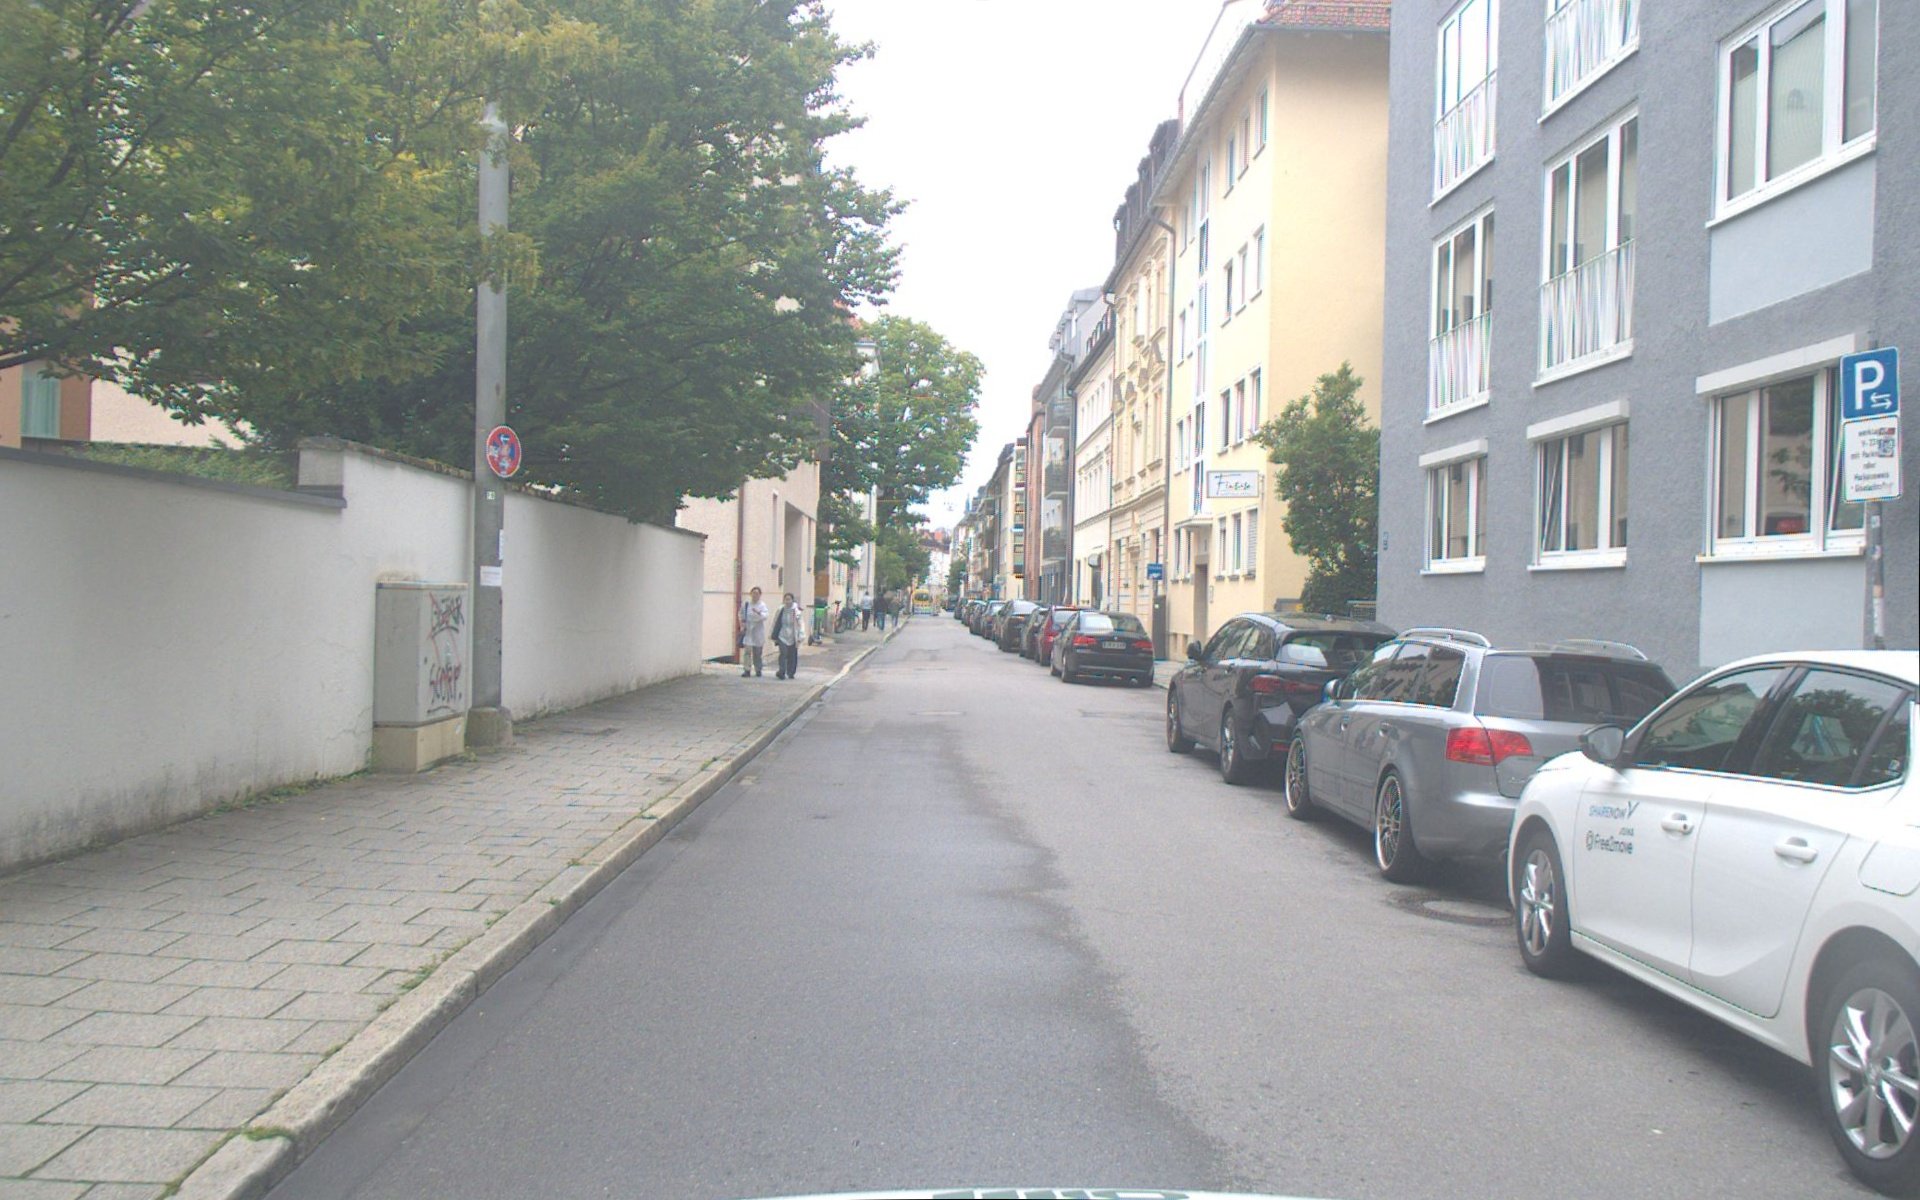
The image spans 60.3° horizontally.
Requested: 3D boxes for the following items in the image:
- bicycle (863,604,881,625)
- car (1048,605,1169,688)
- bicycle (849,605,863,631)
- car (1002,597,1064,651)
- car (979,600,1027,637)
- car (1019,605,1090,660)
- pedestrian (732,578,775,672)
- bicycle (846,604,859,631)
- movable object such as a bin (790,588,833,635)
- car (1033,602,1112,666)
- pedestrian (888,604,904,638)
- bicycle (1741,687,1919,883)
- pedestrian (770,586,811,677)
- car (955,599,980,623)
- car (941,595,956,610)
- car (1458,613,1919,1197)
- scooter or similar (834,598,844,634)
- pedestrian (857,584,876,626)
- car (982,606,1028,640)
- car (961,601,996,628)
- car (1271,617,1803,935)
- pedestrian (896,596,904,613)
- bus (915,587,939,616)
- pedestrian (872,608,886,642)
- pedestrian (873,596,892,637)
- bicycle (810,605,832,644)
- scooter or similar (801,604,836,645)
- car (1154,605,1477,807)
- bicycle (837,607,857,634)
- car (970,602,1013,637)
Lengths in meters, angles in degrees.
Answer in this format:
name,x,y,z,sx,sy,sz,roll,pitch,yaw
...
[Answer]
name,x,y,z,sx,sy,sz,roll,pitch,yaw
bicycle,-5.321,0.860,99.934,0.632,1.239,1.655,1,-1,-20
car,2.869,0.871,32.850,1.789,1.357,4.507,5,0,-2
bicycle,-4.847,0.826,76.980,0.551,1.180,1.718,2,-1,-7
car,2.327,0.755,53.657,1.667,1.635,4.683,2,0,-1
car,1.891,0.826,74.115,1.838,1.598,4.314,0,0,-3
car,2.642,0.895,46.976,1.642,1.417,4.064,2,0,-1
pedestrian,-3.757,0.457,30.171,0.601,1.649,0.687,4,-1,-1
bicycle,-4.891,0.809,75.263,0.448,1.179,1.605,3,-1,0
movable object such as a bin,-5.126,0.380,57.319,1.150,1.466,1.249,6,1,5
car,2.842,0.841,42.540,1.642,1.518,3.852,2,0,-1
pedestrian,-3.348,1.103,86.564,0.738,1.688,0.906,3,-1,-1
bicycle,5.884,1.203,11.193,0.369,1.129,1.686,1,0,-1
pedestrian,-3.080,0.566,30.104,0.610,1.606,0.714,2,-1,-2
car,0.595,0.895,140.324,1.766,1.851,3.997,5,0,-3
car,-1.498,0.301,218.230,1.766,1.741,3.824,5,0,-3
car,3.373,0.875,5.966,1.733,1.470,4.344,5,0,0
scooter or similar,-4.783,0.623,65.391,0.311,1.400,1.238,1,-1,-1
pedestrian,-4.145,0.222,73.279,0.704,1.828,0.916,3,-1,-1
car,1.857,0.938,69.193,1.771,1.387,3.945,1,0,-1
car,1.126,0.905,103.680,1.848,1.582,4.389,2,0,-3
car,3.361,0.918,10.656,1.754,1.425,4.485,5,0,0
pedestrian,-5.367,0.436,147.721,0.740,1.517,0.831,1,-1,-1
bus,-3.678,0.217,185.933,2.540,3.156,6.304,1,-1,-1
pedestrian,-4.243,1.294,86.821,0.600,1.743,0.823,3,-1,-2
pedestrian,-3.445,0.740,73.378,0.704,1.796,0.838,3,-1,-1
bicycle,-4.369,0.750,52.065,0.533,1.181,1.881,3,0,-3
scooter or similar,-4.283,0.746,50.002,0.540,1.164,1.359,4,-1,15
car,3.131,0.869,15.514,1.805,1.453,4.261,5,0,-3
bicycle,-4.594,0.831,67.127,0.690,1.001,1.820,5,-1,-5
car,1.484,0.893,78.991,1.803,1.555,4.291,2,0,-2
